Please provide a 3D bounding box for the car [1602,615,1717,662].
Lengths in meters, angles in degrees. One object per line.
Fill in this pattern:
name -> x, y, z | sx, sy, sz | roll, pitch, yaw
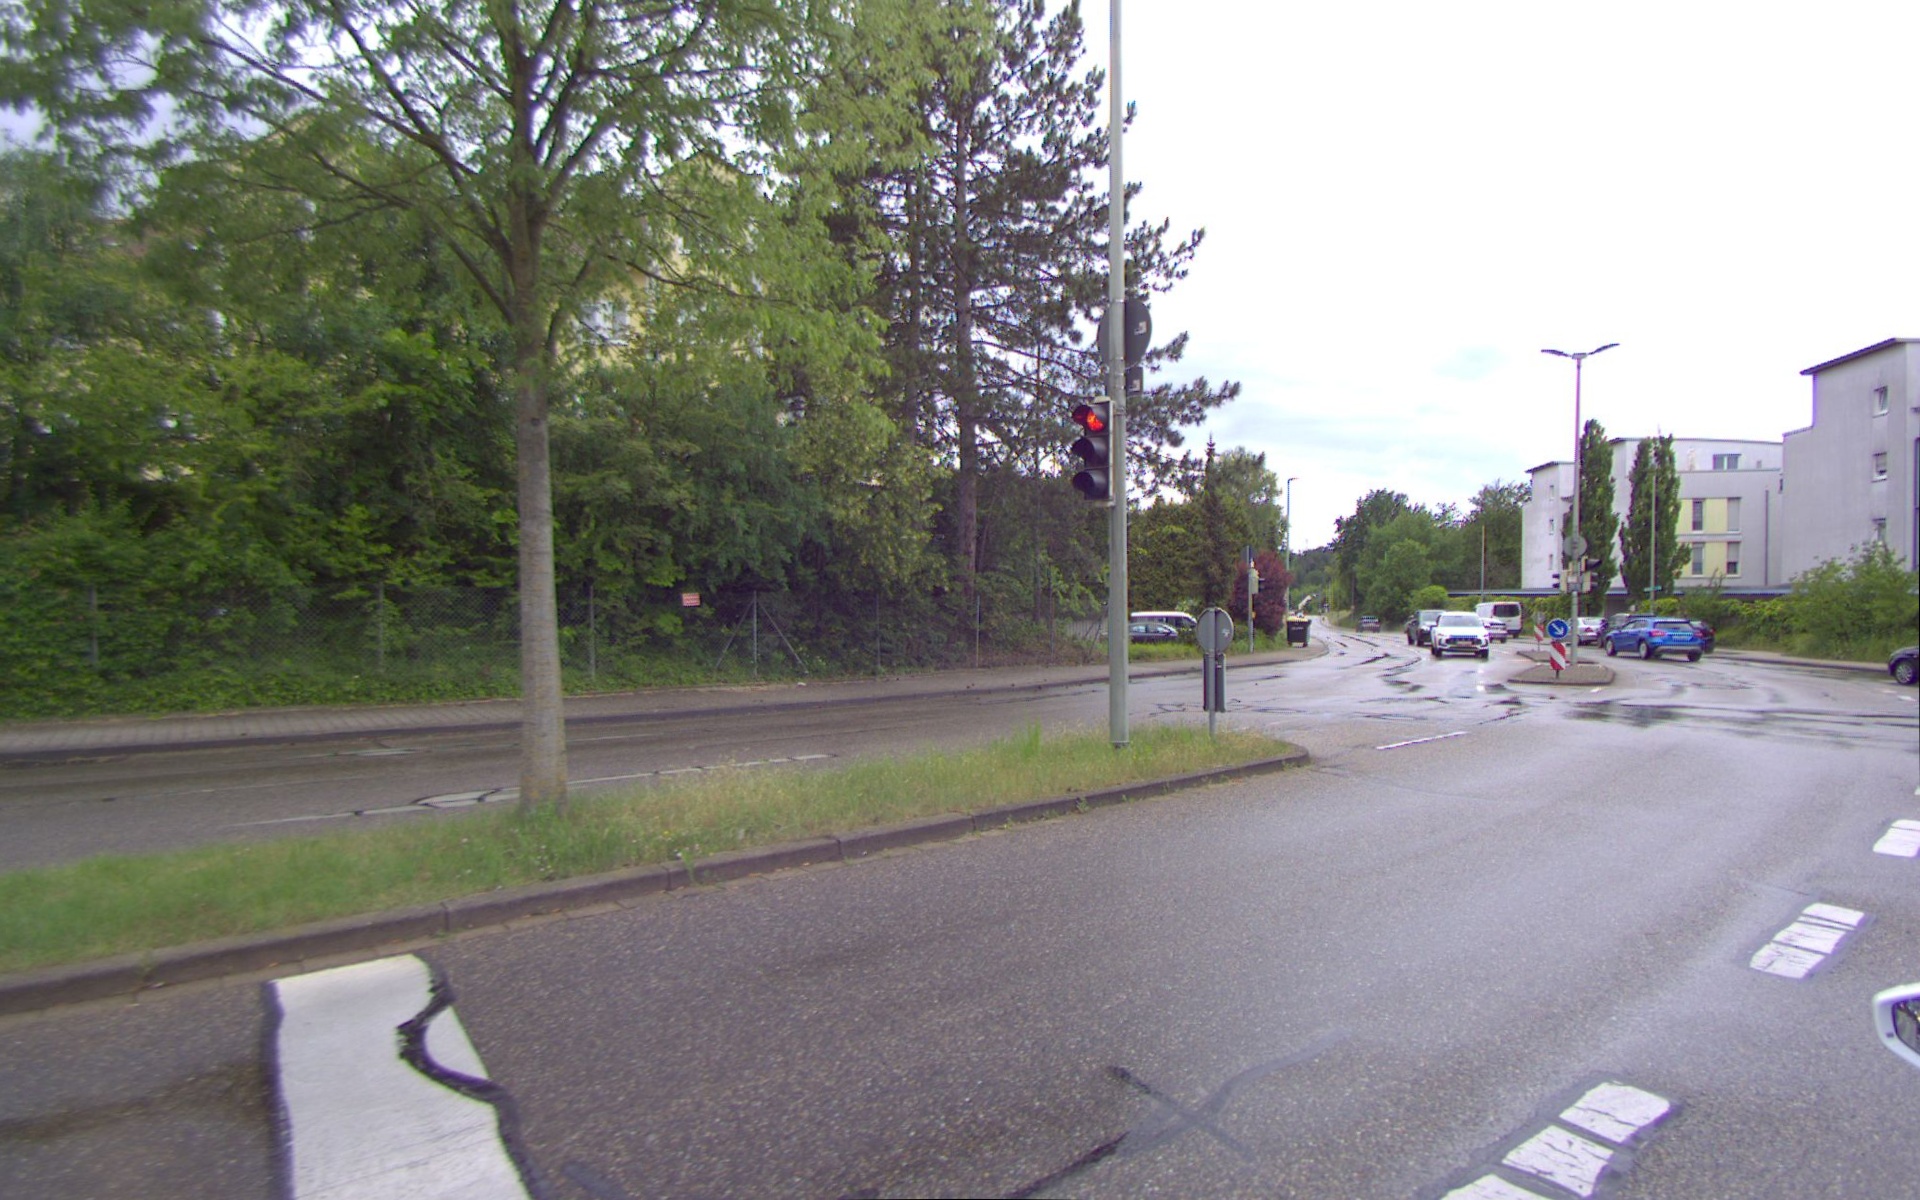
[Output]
car -> 25.532, 1.373, 36.847 | 1.959, 1.576, 4.002 | -1, 0, 11

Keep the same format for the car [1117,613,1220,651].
car -> 8.819, 1.313, 42.491 | 3.924, 1.484, 1.998 | 0, 1, 24

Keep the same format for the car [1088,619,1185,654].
car -> 7.057, 1.443, 40.079 | 3.519, 1.258, 1.651 | 0, 1, 24

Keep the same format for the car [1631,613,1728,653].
car -> 30.505, 1.370, 42.753 | 1.960, 1.576, 4.002 | -1, 0, 13

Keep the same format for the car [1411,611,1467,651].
car -> 23.668, 1.491, 49.789 | 1.960, 1.840, 4.000 | -1, 0, 18

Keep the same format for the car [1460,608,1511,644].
car -> 30.323, 1.480, 58.077 | 1.960, 1.782, 4.000 | 0, 3, 17

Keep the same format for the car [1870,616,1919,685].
car -> 23.641, 1.186, 22.914 | 1.962, 1.573, 3.997 | -1, 0, -4

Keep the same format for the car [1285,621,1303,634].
car -> 49.668, 4.058, 149.277 | 1.959, 1.475, 4.001 | -2, 3, 10

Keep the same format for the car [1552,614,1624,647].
car -> 32.518, 1.547, 52.116 | 1.960, 1.576, 4.002 | -1, 0, 13

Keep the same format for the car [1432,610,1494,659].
car -> 18.735, 1.231, 37.468 | 1.963, 1.662, 3.995 | 0, 1, 26

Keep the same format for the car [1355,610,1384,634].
car -> 39.755, 2.100, 97.613 | 1.941, 2.041, 4.001 | -1, 3, 13

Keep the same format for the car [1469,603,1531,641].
car -> 36.117, 1.534, 67.350 | 2.548, 2.445, 5.259 | -1, -3, 16
